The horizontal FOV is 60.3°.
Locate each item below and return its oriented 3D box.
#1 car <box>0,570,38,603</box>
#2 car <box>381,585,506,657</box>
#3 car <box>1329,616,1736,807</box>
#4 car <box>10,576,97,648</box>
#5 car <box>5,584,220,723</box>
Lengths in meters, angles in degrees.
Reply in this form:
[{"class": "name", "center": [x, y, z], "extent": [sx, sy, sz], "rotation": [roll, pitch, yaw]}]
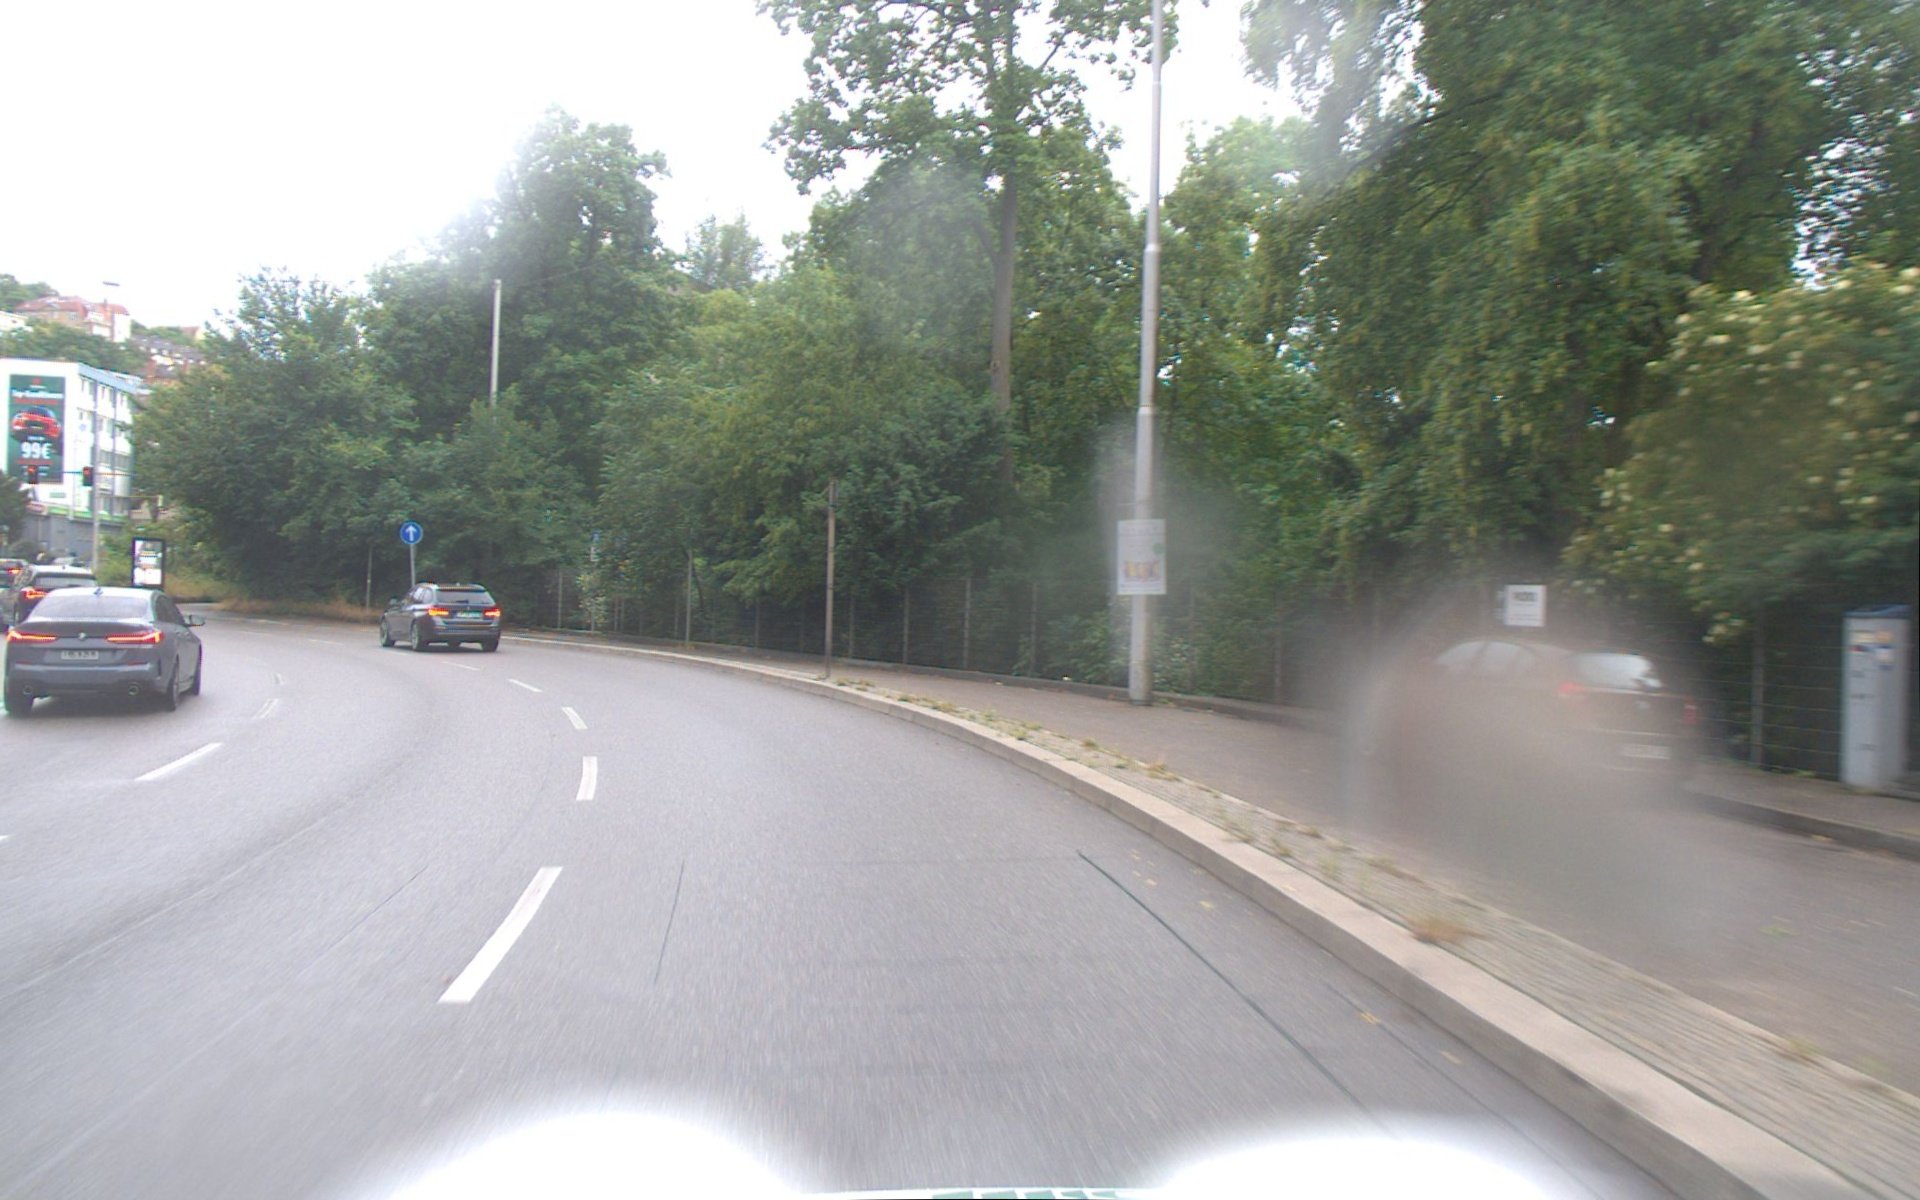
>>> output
[{"class": "car", "center": [-50.135, -0.724, 87.596], "extent": [1.805, 1.680, 3.972], "rotation": [1, 0, -23]}, {"class": "car", "center": [-11.645, 0.498, 37.111], "extent": [1.739, 1.458, 4.367], "rotation": [-1, -2, -30]}, {"class": "car", "center": [5.443, 0.994, 16.409], "extent": [1.659, 1.451, 4.355], "rotation": [4, 0, -14]}, {"class": "car", "center": [-21.682, 0.239, 39.549], "extent": [1.738, 1.613, 4.369], "rotation": [0, 1, -29]}, {"class": "car", "center": [-10.344, 0.574, 20.491], "extent": [1.639, 1.439, 4.517], "rotation": [1, 1, -18]}]
